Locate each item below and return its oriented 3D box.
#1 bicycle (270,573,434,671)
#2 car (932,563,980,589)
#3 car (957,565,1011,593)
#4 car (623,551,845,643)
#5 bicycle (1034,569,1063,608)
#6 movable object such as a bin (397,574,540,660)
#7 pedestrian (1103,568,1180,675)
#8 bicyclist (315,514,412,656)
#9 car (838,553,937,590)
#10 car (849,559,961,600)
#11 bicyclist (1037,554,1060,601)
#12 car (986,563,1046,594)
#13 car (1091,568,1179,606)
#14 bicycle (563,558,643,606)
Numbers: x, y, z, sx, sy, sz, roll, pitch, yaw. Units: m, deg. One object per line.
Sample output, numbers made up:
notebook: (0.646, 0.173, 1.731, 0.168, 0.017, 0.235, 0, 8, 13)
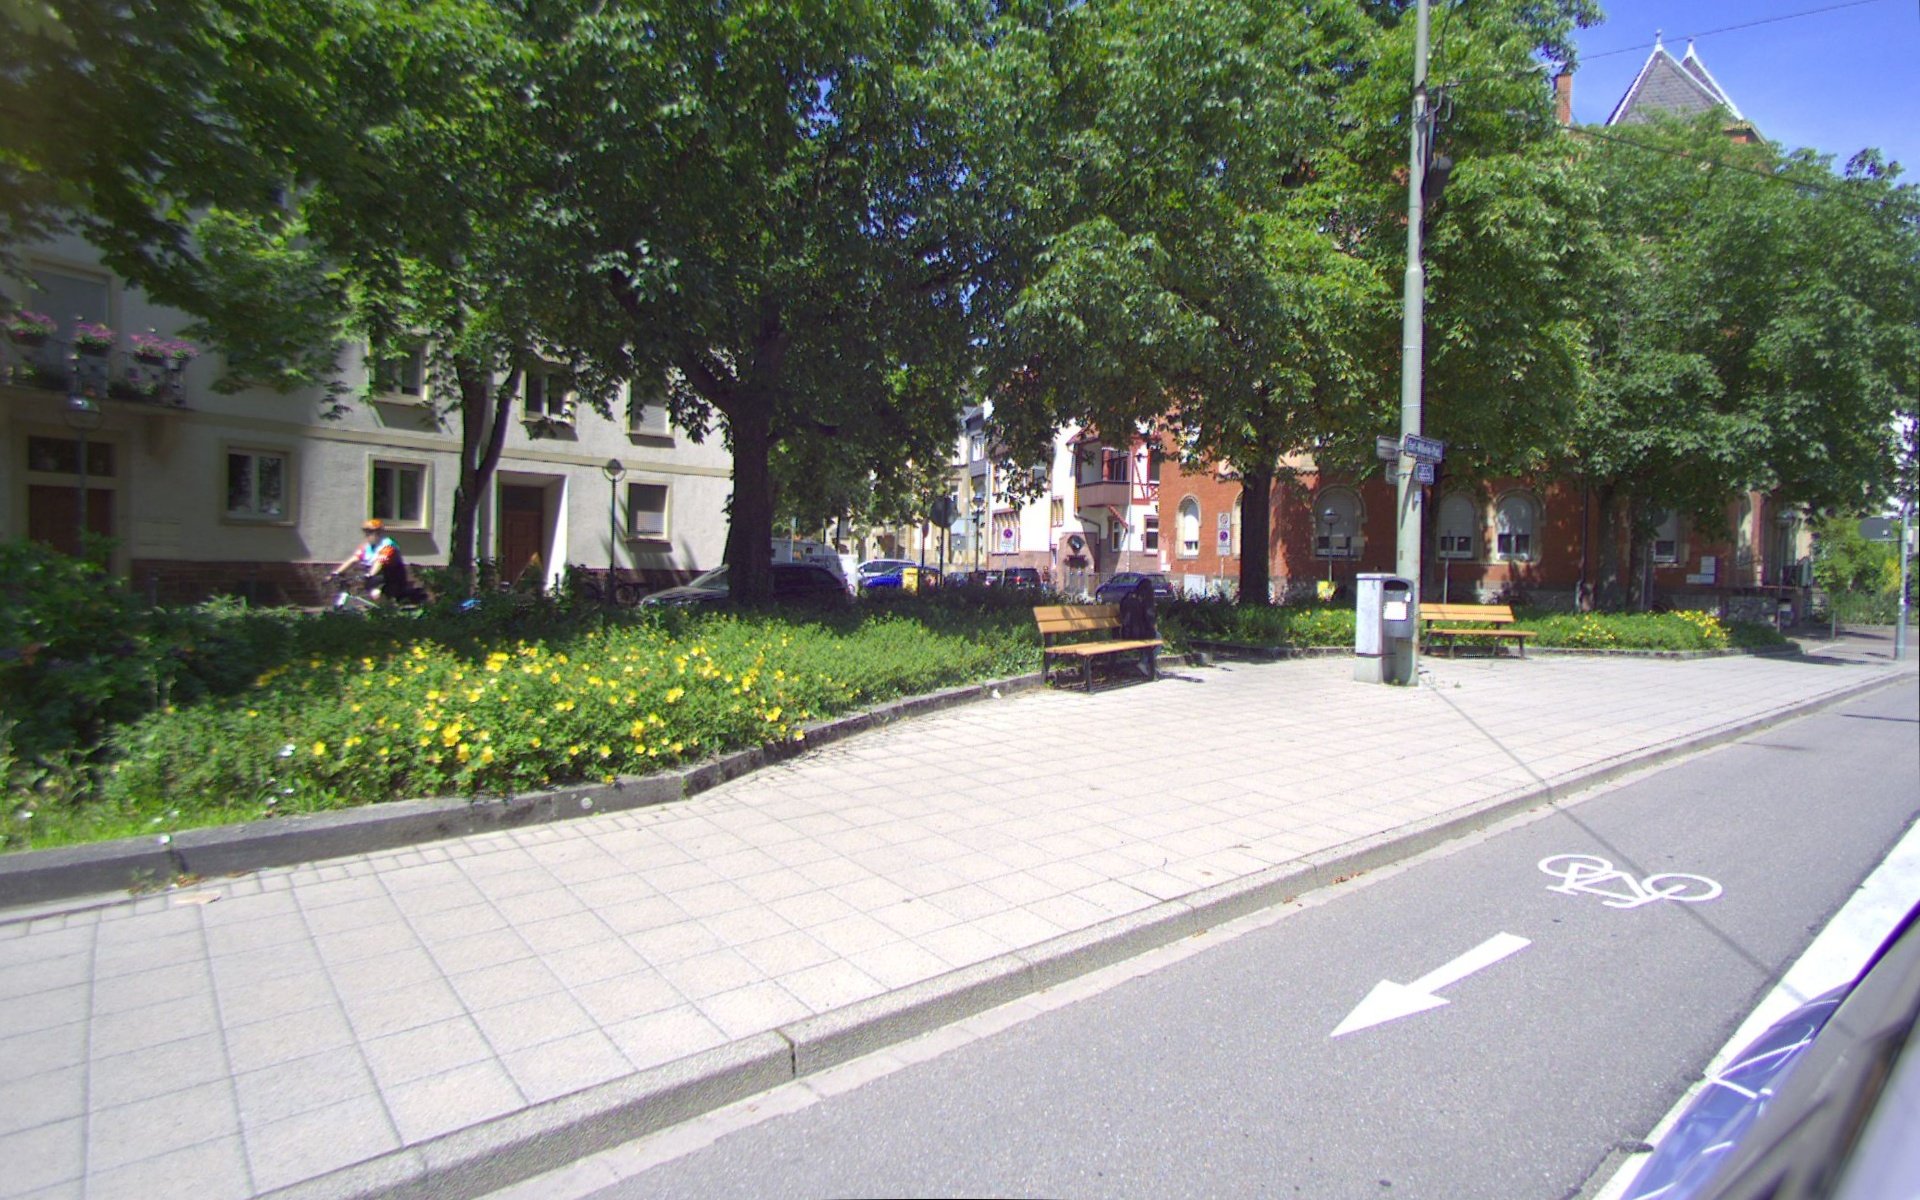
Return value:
bicycle: (-7.909, 0.246, 13.254, 0.674, 1.169, 1.789, 2, 2, 25)
car: (-0.317, -1.584, 65.300, 1.668, 1.582, 4.255, 1, 2, -21)
car: (1.376, -1.264, 60.233, 1.668, 1.582, 4.255, 1, 2, -21)
car: (-4.253, -0.106, 19.535, 1.608, 1.582, 4.005, 3, 2, 42)
bicycle: (3.140, -0.428, 35.995, 0.627, 1.309, 1.934, 1, 2, -7)
movable object such as a bin: (-7.183, 0.207, 14.878, 0.859, 1.169, 1.750, 2, 2, 25)
pedestrian: (2.070, 0.226, 11.517, 0.648, 1.164, 0.635, 2, 2, 34)
bicyclist: (-7.859, -0.211, 13.346, 0.691, 1.788, 0.857, 2, 1, 25)
car: (-3.313, -1.283, 46.406, 4.228, 1.582, 1.649, 1, 2, -20)
car: (-2.246, -0.829, 41.307, 4.228, 1.582, 1.649, 1, 2, -20)
bicyclist: (3.151, -0.791, 35.993, 0.627, 1.643, 0.864, 1, 1, -7)
car: (3.003, -1.195, 55.570, 1.668, 1.582, 4.255, 1, 2, -21)
car: (7.284, -0.568, 42.477, 1.610, 1.470, 4.329, 1, 2, -21)
bicycle: (-9.019, -0.449, 25.611, 0.513, 1.169, 1.905, 2, 2, 41)
